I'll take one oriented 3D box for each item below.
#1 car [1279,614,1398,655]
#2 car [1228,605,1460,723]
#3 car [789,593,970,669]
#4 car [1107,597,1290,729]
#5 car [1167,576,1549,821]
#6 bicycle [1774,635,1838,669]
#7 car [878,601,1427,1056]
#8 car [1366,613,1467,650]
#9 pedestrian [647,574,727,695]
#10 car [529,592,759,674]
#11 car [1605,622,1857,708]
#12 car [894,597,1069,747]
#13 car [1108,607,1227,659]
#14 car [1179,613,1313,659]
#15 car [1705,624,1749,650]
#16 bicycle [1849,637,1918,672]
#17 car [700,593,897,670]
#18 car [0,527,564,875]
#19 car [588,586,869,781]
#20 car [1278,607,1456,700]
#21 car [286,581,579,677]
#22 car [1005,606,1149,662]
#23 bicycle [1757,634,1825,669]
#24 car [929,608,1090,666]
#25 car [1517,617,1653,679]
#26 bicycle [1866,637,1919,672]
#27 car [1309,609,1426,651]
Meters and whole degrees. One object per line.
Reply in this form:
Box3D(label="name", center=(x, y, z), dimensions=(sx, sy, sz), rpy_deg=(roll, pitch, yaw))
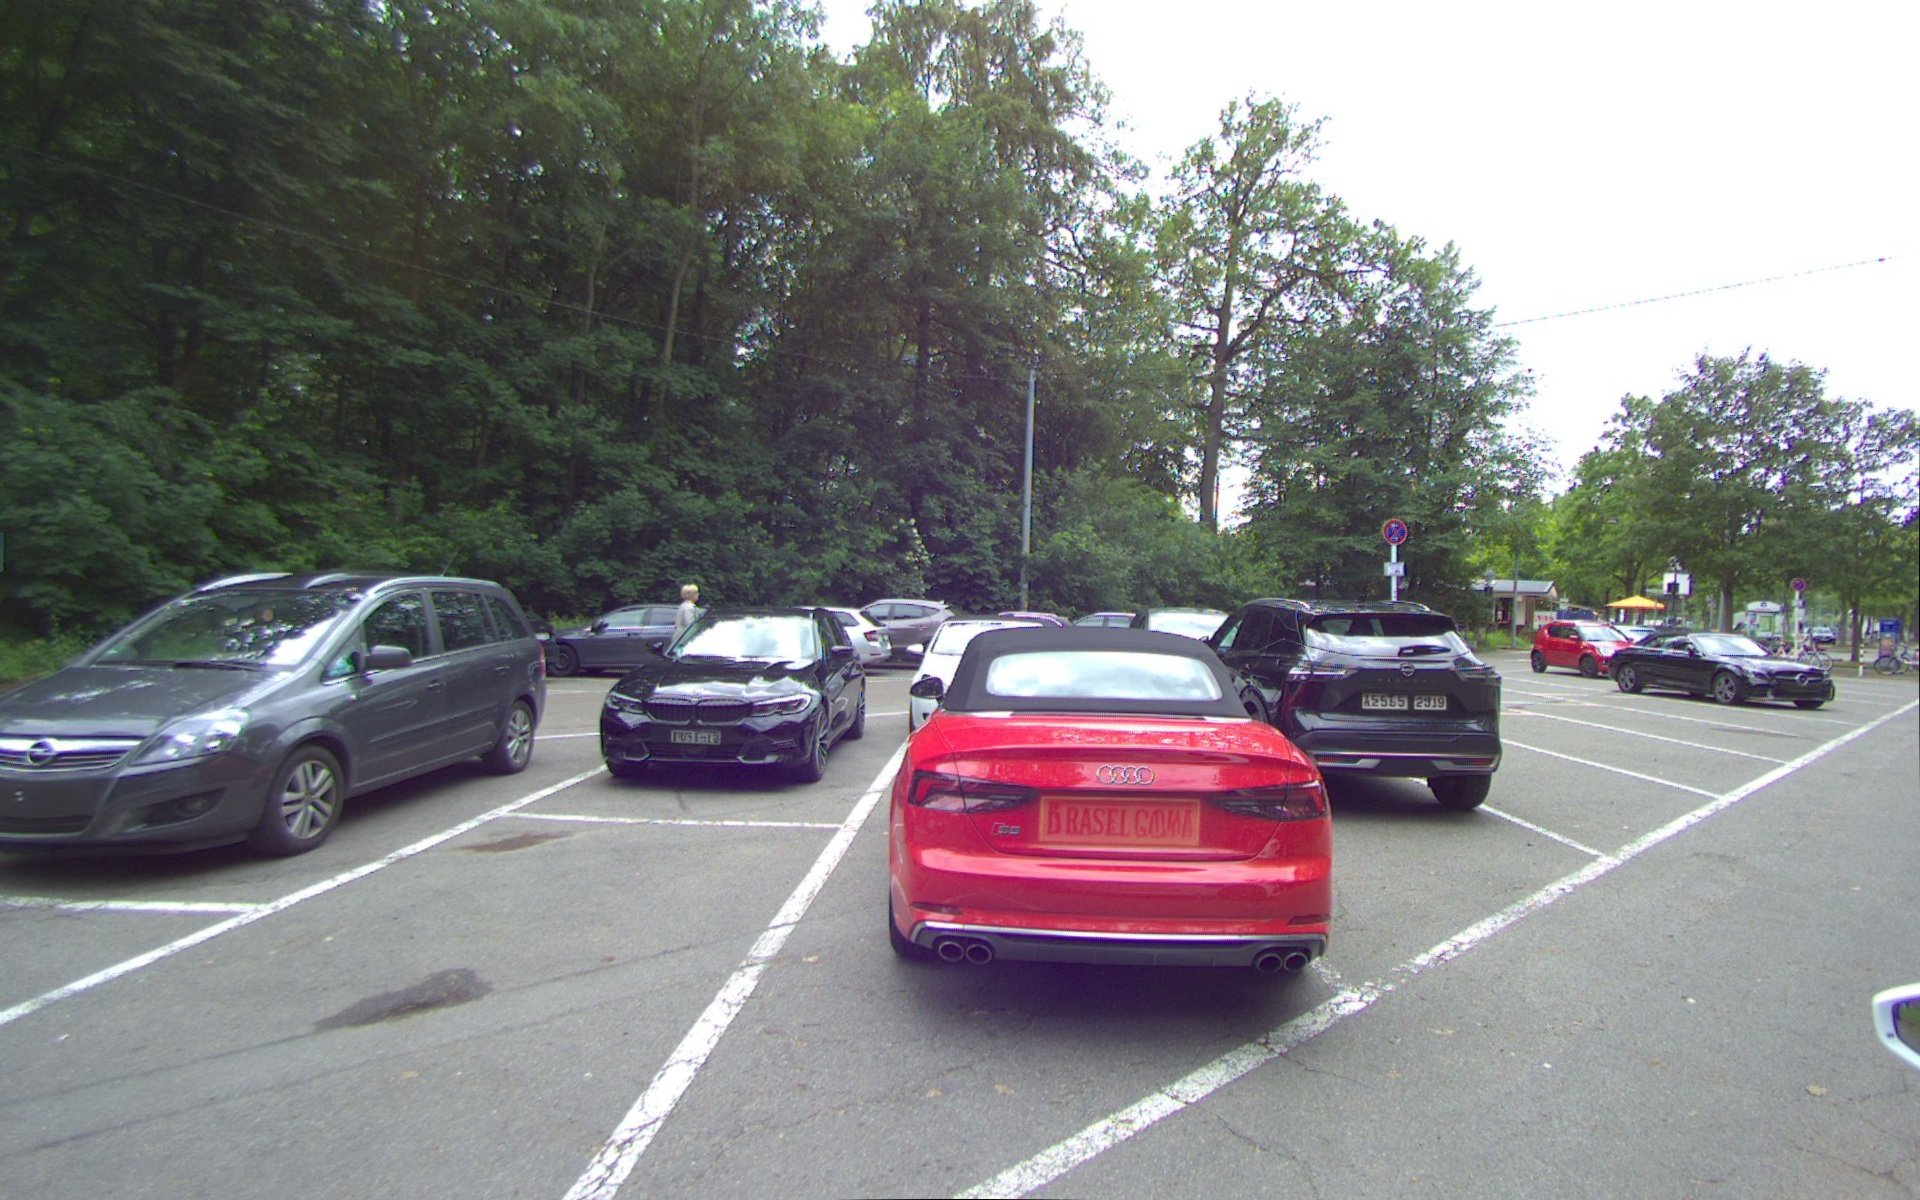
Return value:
Box3D(label="car", center=(14.951, 1.341, 39.839), dimensions=(4.036, 1.458, 1.871), rpy_deg=(1, 0, 5))
Box3D(label="car", center=(5.817, 0.890, 15.791), dimensions=(1.837, 1.575, 3.997), rpy_deg=(2, 0, -4))
Box3D(label="car", center=(-1.909, 0.737, 24.759), dimensions=(4.177, 1.658, 1.966), rpy_deg=(2, 0, 2))
Box3D(label="car", center=(3.331, 0.821, 14.786), dimensions=(1.811, 1.608, 3.978), rpy_deg=(2, -1, 2))
Box3D(label="car", center=(3.232, 0.709, 9.119), dimensions=(1.861, 1.685, 4.000), rpy_deg=(1, 0, 0))
Box3D(label="bicycle", center=(30.350, 1.863, 36.051), dimensions=(0.478, 1.126, 1.666), rpy_deg=(1, 0, -39))
Box3D(label="car", center=(0.706, 0.745, 5.459), dimensions=(1.734, 1.412, 4.393), rpy_deg=(2, 0, 2))
Box3D(label="car", center=(20.358, 1.384, 44.921), dimensions=(3.717, 1.512, 1.700), rpy_deg=(1, 0, 1))
Box3D(label="pedestrian", center=(-4.119, 0.509, 15.167), dimensions=(0.890, 1.748, 0.755), rpy_deg=(2, 0, -42))
Box3D(label="car", center=(-6.220, 0.642, 20.102), dimensions=(3.920, 1.441, 1.910), rpy_deg=(2, 0, 2))
Box3D(label="car", center=(15.708, 1.254, 20.808), dimensions=(1.833, 1.461, 4.316), rpy_deg=(2, 0, -1))
Box3D(label="car", center=(0.299, 0.742, 12.105), dimensions=(1.737, 1.462, 3.847), rpy_deg=(2, 0, 3))
Box3D(label="car", center=(6.643, 1.029, 32.445), dimensions=(3.510, 1.525, 1.736), rpy_deg=(2, 0, 4))
Box3D(label="car", center=(9.867, 1.237, 34.960), dimensions=(4.209, 1.432, 1.929), rpy_deg=(1, 0, 6))
Box3D(label="car", center=(52.440, 2.508, 68.726), dimensions=(1.902, 1.692, 4.335), rpy_deg=(2, 0, 31))
Box3D(label="bicycle", center=(31.789, 1.867, 34.587), dimensions=(0.501, 1.126, 1.667), rpy_deg=(1, 0, -36))
Box3D(label="car", center=(-3.517, 0.685, 22.307), dimensions=(3.919, 1.486, 1.836), rpy_deg=(2, 0, 7))
Box3D(label="car", center=(-4.563, 0.485, 6.979), dimensions=(1.793, 1.630, 4.388), rpy_deg=(2, 0, 1))
Box3D(label="car", center=(-1.987, 0.659, 9.924), dimensions=(1.725, 1.462, 4.279), rpy_deg=(2, 0, 0))
Box3D(label="car", center=(7.989, 0.976, 20.177), dimensions=(1.810, 1.618, 4.190), rpy_deg=(2, 0, 0))
Box3D(label="car", center=(-9.129, 0.492, 17.629), dimensions=(4.120, 1.482, 1.900), rpy_deg=(1, -1, 3))
Box3D(label="car", center=(3.397, 0.986, 29.793), dimensions=(4.103, 1.477, 1.805), rpy_deg=(2, 0, 2))
Box3D(label="bicycle", center=(29.184, 1.790, 35.311), dimensions=(0.478, 1.126, 1.768), rpy_deg=(1, 0, -39))
Box3D(label="car", center=(1.302, 0.970, 27.363), dimensions=(4.178, 1.396, 1.965), rpy_deg=(2, 0, 0))
Box3D(label="car", center=(18.253, 1.348, 29.524), dimensions=(1.654, 1.606, 3.654), rpy_deg=(2, 0, -1))
Box3D(label="bicycle", center=(32.738, 1.895, 34.988), dimensions=(0.478, 1.126, 1.681), rpy_deg=(1, 0, -34))
Box3D(label="car", center=(17.059, 1.245, 42.215), dimensions=(4.120, 1.601, 1.958), rpy_deg=(1, 0, 0))
